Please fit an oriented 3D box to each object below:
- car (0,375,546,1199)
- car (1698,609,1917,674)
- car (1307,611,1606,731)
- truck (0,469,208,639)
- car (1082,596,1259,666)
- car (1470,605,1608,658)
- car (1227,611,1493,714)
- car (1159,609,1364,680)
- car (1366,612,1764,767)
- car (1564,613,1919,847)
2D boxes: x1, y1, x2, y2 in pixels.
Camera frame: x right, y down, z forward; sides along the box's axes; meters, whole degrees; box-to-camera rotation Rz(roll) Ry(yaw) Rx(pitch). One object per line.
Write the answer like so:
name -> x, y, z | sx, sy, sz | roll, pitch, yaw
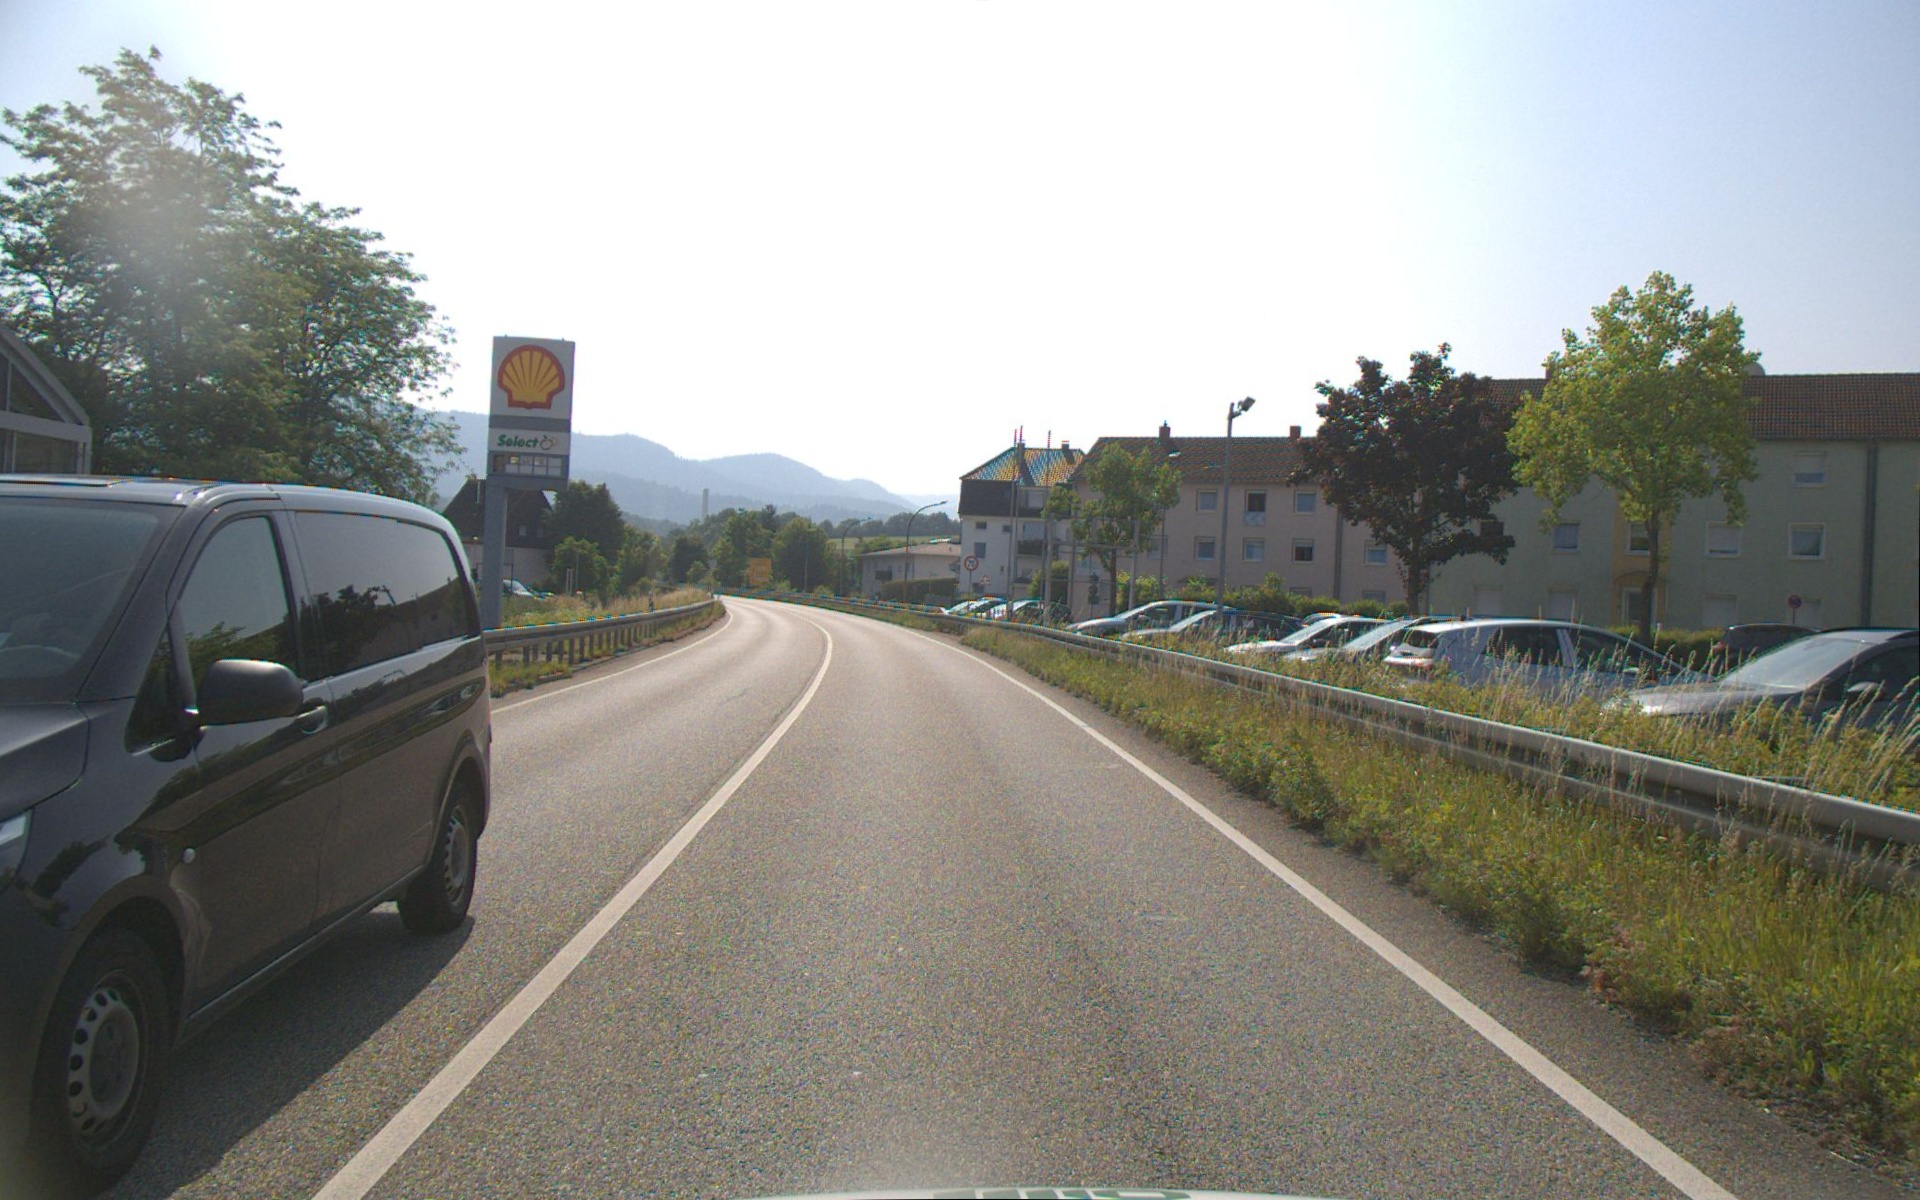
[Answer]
car -> -2.952, 0.485, 5.747 | 1.875, 1.918, 4.909 | 0, 0, -1
car -> 20.299, 0.964, 39.827 | 1.885, 1.430, 4.487 | 1, 0, -26
car -> 7.135, 0.998, 24.010 | 3.769, 1.595, 1.806 | 1, 0, -2
truck -> -21.246, -1.015, 36.384 | 2.752, 3.618, 8.176 | 2, 0, 37
car -> 5.382, 0.781, 42.747 | 4.232, 1.668, 2.139 | 1, 0, -2
car -> 16.390, 0.878, 46.970 | 1.631, 1.390, 3.632 | 1, 0, -26
car -> 6.468, 0.990, 26.986 | 3.906, 1.548, 1.697 | 1, 0, -2
car -> 6.705, 0.971, 36.962 | 4.235, 1.469, 1.627 | 1, 0, -5
car -> 6.828, 0.982, 18.957 | 3.905, 1.607, 1.778 | 1, 0, 0
car -> 7.087, 0.977, 13.089 | 3.906, 1.668, 1.887 | 1, 0, -2
